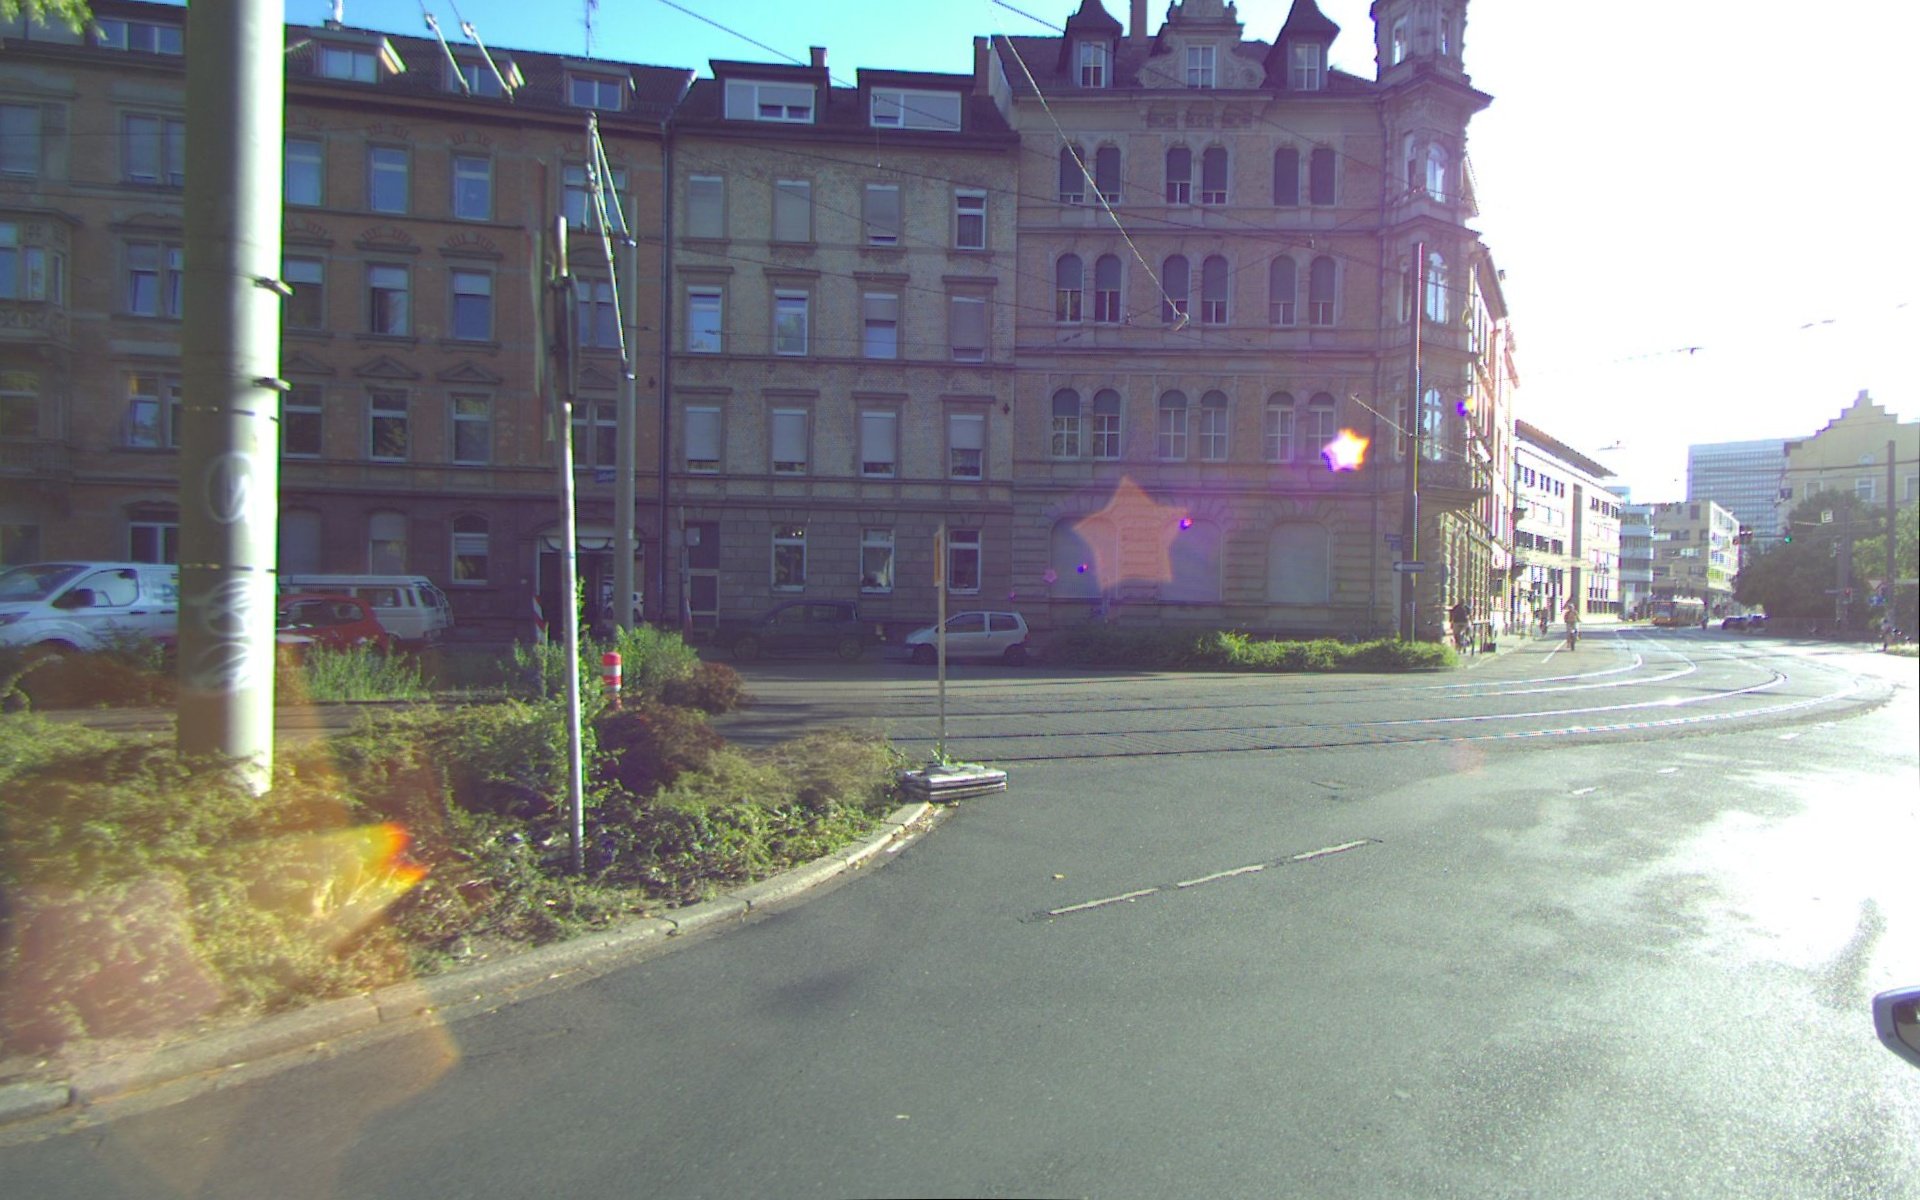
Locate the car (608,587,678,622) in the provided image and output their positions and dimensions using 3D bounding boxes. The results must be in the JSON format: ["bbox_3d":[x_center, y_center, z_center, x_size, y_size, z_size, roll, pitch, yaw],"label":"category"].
[{"bbox_3d":[-16.282,0.207,51.551,3.453,1.595,1.849,3,3,38],"label":"car"}]

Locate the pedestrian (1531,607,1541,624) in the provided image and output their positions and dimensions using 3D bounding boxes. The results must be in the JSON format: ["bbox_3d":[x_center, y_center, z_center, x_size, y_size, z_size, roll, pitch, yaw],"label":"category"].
[{"bbox_3d":[64.204,1.749,111.898,0.797,1.866,0.731,1,0,44],"label":"pedestrian"}]

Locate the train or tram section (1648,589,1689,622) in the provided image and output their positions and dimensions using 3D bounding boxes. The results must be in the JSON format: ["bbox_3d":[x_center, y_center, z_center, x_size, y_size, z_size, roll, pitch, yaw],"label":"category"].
[{"bbox_3d":[83.367,0.756,118.013,2.217,3.622,14.197,1,0,42],"label":"train or tram section"}]

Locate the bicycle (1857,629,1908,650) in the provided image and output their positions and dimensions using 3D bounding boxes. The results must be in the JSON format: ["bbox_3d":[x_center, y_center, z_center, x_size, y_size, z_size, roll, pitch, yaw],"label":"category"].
[{"bbox_3d":[46.998,1.988,51.194,1.810,0.998,0.731,1,0,39],"label":"bicycle"}]

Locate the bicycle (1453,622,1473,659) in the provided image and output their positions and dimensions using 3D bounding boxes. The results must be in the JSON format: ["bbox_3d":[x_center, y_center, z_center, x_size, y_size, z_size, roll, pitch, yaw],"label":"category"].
[{"bbox_3d":[16.319,1.295,32.563,0.493,1.148,2.122,1,0,29],"label":"bicycle"}]

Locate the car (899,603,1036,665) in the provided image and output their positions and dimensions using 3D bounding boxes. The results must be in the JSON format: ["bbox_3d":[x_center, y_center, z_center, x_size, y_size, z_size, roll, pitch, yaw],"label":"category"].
[{"bbox_3d":[0.140,0.869,26.329,3.428,1.448,1.855,1,3,-5],"label":"car"}]

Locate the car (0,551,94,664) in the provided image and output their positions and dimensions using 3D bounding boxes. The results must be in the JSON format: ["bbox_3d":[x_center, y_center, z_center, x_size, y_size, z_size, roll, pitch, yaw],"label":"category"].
[{"bbox_3d":[-16.448,0.088,15.103,2.043,1.788,4.838,1,0,17],"label":"car"}]

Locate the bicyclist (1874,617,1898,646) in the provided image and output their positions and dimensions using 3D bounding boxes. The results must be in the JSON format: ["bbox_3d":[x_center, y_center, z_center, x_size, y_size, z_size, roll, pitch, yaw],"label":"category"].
[{"bbox_3d":[47.107,1.599,51.100,0.794,1.432,0.621,1,0,39],"label":"bicyclist"}]

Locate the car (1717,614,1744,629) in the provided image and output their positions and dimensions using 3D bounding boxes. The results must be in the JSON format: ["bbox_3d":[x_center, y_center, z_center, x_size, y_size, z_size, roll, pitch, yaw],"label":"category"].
[{"bbox_3d":[80.813,2.293,105.298,1.971,1.483,3.980,1,0,41],"label":"car"}]

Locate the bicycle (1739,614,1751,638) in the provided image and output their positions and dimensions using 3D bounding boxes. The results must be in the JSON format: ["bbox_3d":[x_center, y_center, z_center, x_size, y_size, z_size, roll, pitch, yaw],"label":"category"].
[{"bbox_3d":[60.534,1.991,77.479,0.557,1.830,1.355,1,0,31],"label":"bicycle"}]

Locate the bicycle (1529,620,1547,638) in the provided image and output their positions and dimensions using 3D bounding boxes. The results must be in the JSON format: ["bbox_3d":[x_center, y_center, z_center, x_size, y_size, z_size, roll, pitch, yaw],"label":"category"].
[{"bbox_3d":[37.795,1.883,65.658,0.933,1.112,1.993,1,0,32],"label":"bicycle"}]

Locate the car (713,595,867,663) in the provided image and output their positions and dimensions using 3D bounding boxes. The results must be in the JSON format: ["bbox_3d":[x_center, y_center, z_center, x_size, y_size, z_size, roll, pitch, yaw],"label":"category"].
[{"bbox_3d":[-4.408,0.714,26.020,3.804,1.584,1.852,0,3,-13],"label":"car"}]

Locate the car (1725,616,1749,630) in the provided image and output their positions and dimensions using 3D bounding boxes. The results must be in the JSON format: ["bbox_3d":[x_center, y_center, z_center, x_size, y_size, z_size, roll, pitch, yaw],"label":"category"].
[{"bbox_3d":[87.636,2.568,113.265,1.971,1.506,3.980,1,0,41],"label":"car"}]

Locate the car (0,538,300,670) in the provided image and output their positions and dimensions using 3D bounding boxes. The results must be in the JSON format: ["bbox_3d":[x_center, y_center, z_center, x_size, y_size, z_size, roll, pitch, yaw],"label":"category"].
[{"bbox_3d":[-13.551,0.064,16.029,2.043,1.788,5.062,1,0,11],"label":"car"}]

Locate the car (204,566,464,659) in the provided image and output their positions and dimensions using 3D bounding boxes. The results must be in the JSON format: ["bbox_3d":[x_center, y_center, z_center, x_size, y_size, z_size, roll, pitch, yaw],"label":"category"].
[{"bbox_3d":[-14.871,0.264,24.181,4.913,2.091,1.853,0,3,-13],"label":"car"}]

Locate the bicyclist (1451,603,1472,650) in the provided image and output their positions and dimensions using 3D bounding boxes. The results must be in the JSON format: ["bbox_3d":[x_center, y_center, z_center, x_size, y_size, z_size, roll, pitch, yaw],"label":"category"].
[{"bbox_3d":[16.305,0.866,32.679,0.582,1.511,0.701,1,0,26],"label":"bicyclist"}]

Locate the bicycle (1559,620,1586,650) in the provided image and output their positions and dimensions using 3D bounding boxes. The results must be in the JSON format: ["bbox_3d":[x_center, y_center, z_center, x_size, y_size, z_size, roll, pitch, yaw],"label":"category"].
[{"bbox_3d":[25.540,1.437,41.879,0.870,1.171,2.318,1,0,33],"label":"bicycle"}]

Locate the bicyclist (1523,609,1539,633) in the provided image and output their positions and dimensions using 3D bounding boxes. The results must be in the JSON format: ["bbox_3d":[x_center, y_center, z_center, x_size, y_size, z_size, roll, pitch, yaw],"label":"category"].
[{"bbox_3d":[37.441,1.382,65.847,0.831,1.534,0.799,1,0,33],"label":"bicyclist"}]

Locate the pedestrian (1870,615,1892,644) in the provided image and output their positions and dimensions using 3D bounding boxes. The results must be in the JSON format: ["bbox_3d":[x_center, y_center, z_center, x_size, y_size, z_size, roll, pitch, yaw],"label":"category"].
[{"bbox_3d":[55.799,1.769,60.870,0.915,1.714,0.773,1,0,41],"label":"pedestrian"}]

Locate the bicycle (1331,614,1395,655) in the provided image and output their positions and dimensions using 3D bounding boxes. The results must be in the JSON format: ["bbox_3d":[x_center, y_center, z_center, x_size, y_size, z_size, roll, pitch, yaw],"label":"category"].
[{"bbox_3d":[12.497,1.064,31.178,1.757,1.222,0.503,1,3,-1],"label":"bicycle"}]

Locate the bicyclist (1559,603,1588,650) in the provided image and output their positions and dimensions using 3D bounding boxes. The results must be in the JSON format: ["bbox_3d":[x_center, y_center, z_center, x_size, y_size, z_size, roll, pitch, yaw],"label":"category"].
[{"bbox_3d":[25.675,1.092,42.041,1.014,1.916,1.110,1,0,32],"label":"bicyclist"}]

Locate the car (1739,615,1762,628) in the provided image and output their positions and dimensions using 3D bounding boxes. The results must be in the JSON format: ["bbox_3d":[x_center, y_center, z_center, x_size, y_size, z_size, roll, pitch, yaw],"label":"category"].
[{"bbox_3d":[97.905,2.695,124.396,1.971,1.506,3.980,1,0,41],"label":"car"}]

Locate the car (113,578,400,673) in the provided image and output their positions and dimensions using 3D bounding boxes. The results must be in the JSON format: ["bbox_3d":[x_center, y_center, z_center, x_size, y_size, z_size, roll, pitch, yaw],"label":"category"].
[{"bbox_3d":[-11.224,0.375,16.356,1.681,1.347,3.635,1,0,13],"label":"car"}]
